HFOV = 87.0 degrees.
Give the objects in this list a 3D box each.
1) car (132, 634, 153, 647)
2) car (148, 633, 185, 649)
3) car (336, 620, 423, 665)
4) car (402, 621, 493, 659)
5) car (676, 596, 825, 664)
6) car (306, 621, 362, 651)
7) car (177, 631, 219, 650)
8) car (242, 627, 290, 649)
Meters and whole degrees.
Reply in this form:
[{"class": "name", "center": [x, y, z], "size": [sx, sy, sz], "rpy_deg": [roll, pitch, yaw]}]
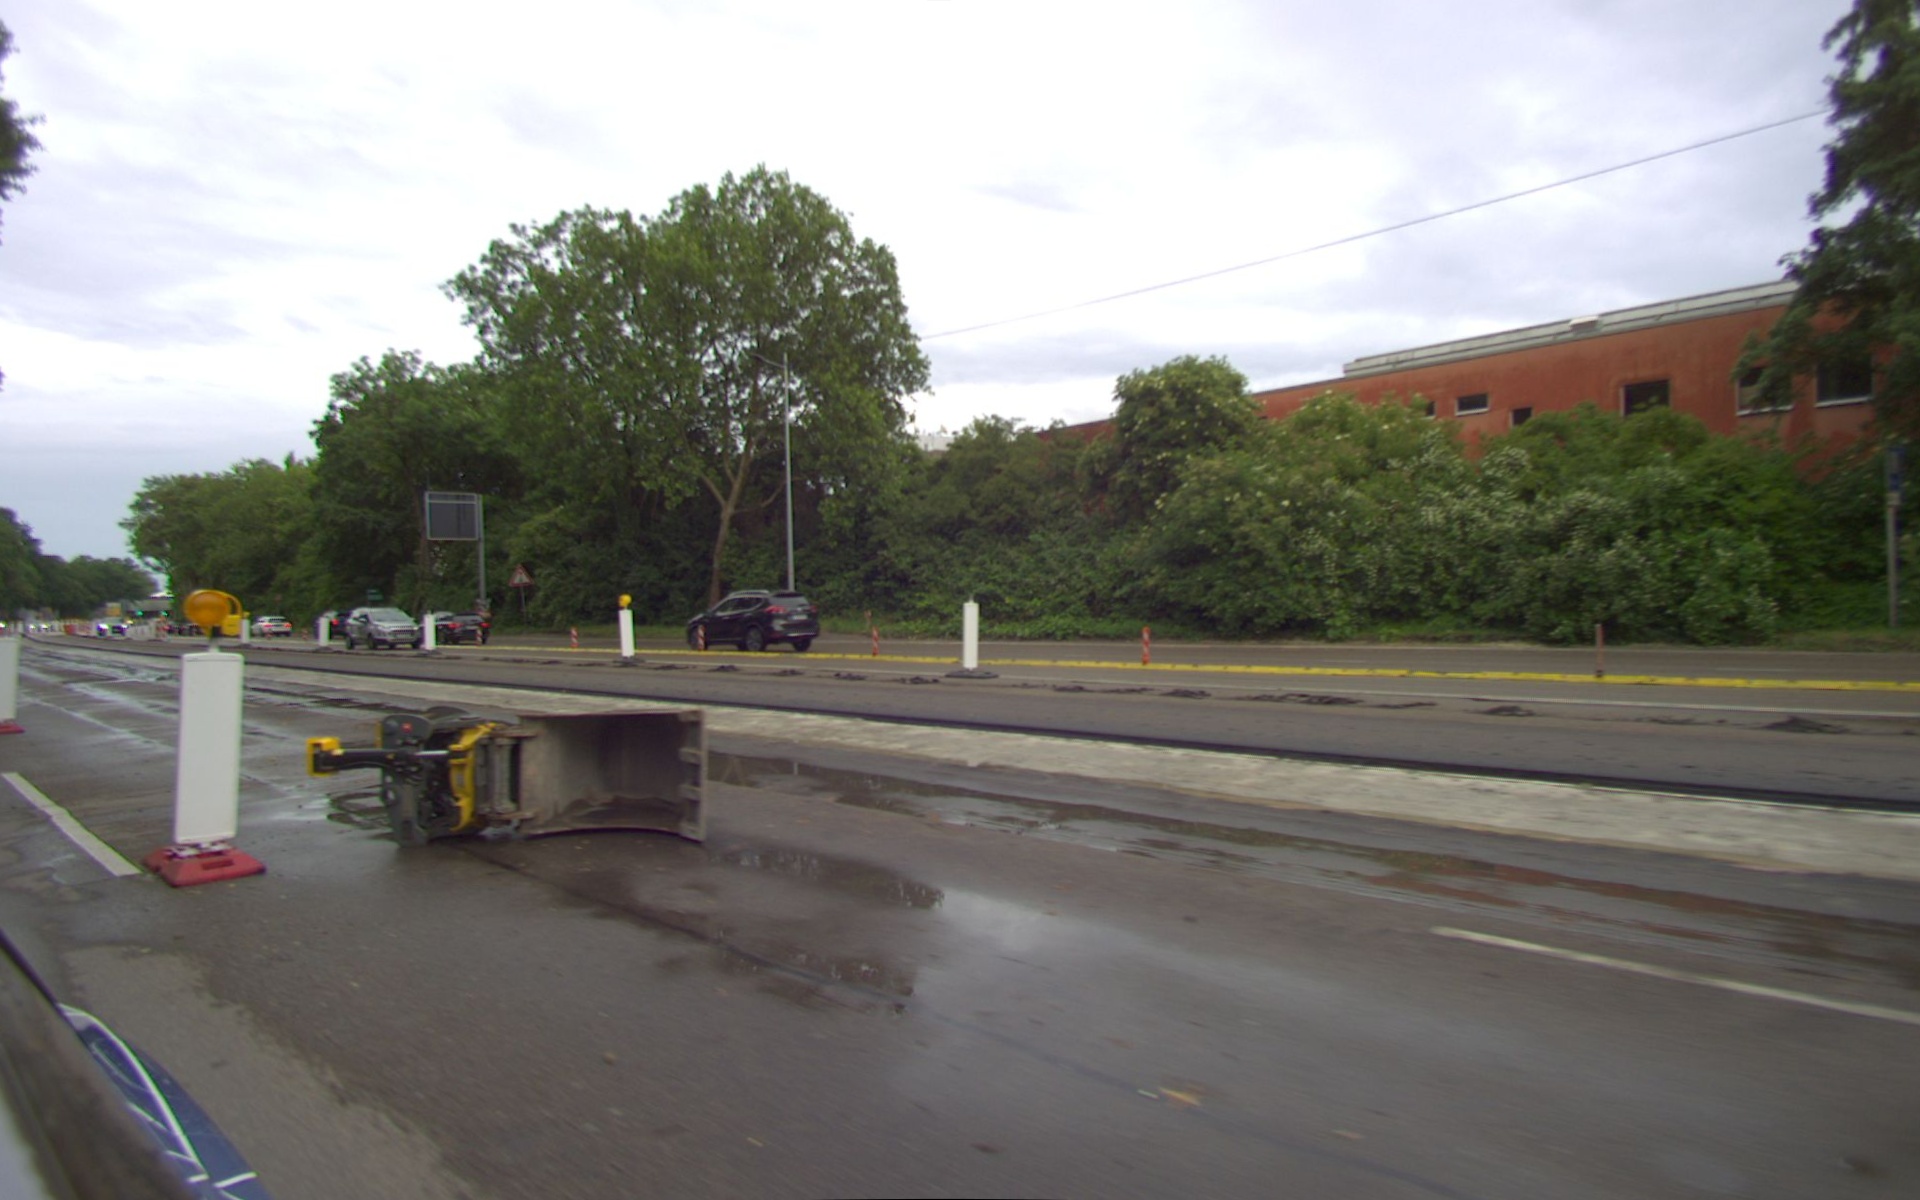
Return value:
[{"class": "car", "center": [-120.038, 5.924, 148.606], "size": [4.379, 1.764, 1.757], "rpy_deg": [-2, -2, 43]}, {"class": "car", "center": [-69.601, 3.608, 88.735], "size": [4.388, 1.366, 1.799], "rpy_deg": [-2, -2, 42]}, {"class": "car", "center": [-22.304, 1.628, 38.860], "size": [3.860, 1.596, 1.770], "rpy_deg": [-2, -1, 42]}, {"class": "car", "center": [-21.939, 1.687, 43.263], "size": [4.897, 1.495, 1.742], "rpy_deg": [-2, -1, 41]}, {"class": "car", "center": [-5.976, 0.831, 28.523], "size": [4.491, 1.735, 1.717], "rpy_deg": [-2, 0, 41]}, {"class": "car", "center": [-38.050, 2.179, 61.467], "size": [4.531, 1.698, 1.636], "rpy_deg": [-2, 0, 42]}, {"class": "car", "center": [-59.275, 3.149, 78.709], "size": [4.203, 1.366, 1.799], "rpy_deg": [-2, -2, 42]}, {"class": "car", "center": [-50.186, 2.745, 73.117], "size": [4.601, 1.430, 1.799], "rpy_deg": [-2, 0, 42]}]
